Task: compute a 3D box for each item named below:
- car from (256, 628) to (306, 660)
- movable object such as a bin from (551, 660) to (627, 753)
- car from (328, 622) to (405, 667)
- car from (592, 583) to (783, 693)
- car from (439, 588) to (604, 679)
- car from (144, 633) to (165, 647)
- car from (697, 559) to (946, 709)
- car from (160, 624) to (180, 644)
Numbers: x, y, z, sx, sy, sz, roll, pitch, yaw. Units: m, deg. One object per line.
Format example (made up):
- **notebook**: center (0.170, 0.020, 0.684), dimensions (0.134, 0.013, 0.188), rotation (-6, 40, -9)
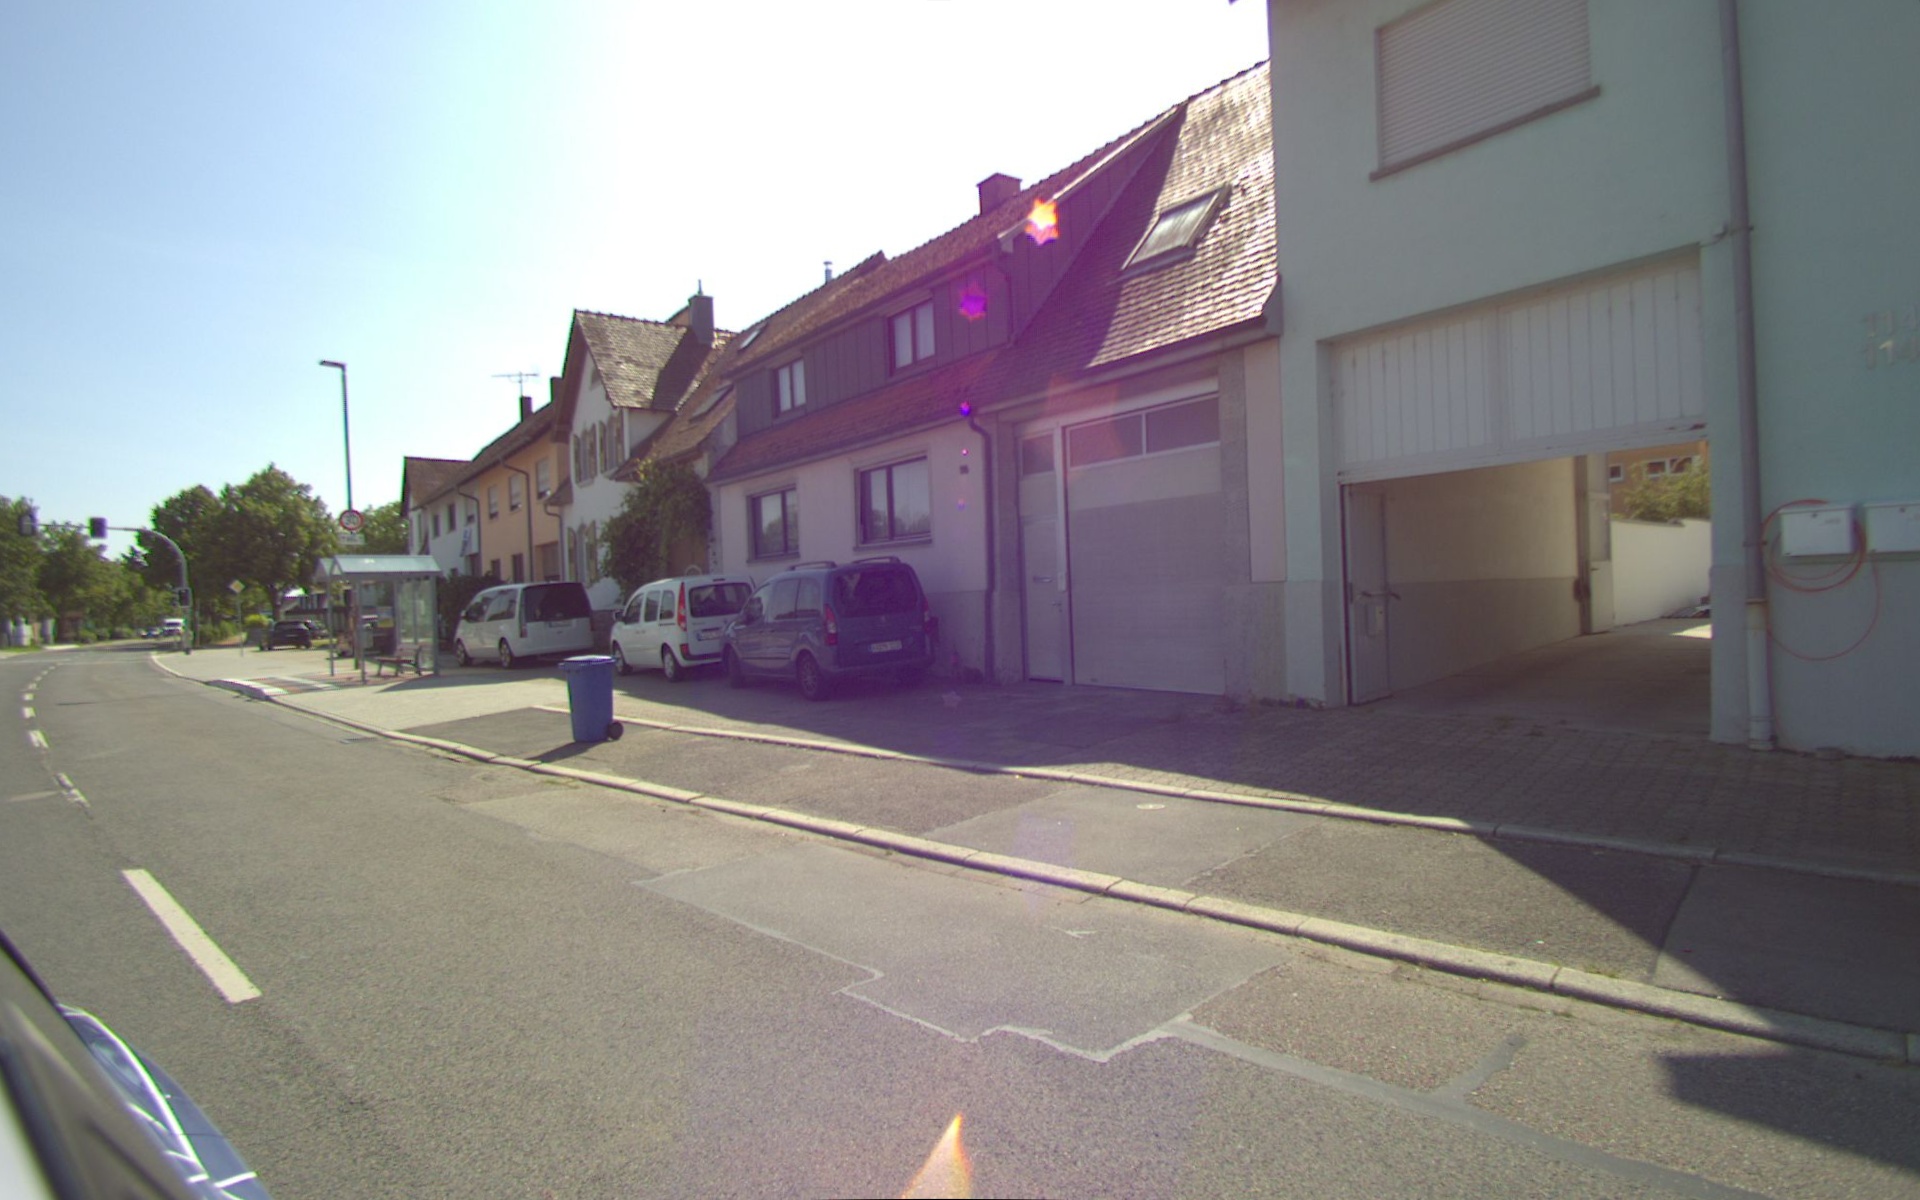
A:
- **car**: center (-33.888, 2.170, 50.489), dimensions (1.693, 1.418, 4.406), rotation (0, -1, -39)
- **movable object such as a bin**: center (-4.116, 1.170, 11.233), dimensions (0.514, 0.943, 0.552), rotation (-2, 1, 37)
- **car**: center (-21.768, 1.651, 37.054), dimensions (1.694, 1.464, 3.920), rotation (-3, -1, -41)
- **car**: center (-5.212, 0.651, 18.981), dimensions (1.942, 1.787, 4.286), rotation (-2, 0, -37)
- **car**: center (-11.098, 0.789, 25.368), dimensions (2.101, 2.001, 5.270), rotation (-2, 0, -43)
- **car**: center (-98.665, 4.872, 124.009), dimensions (1.817, 1.604, 4.115), rotation (-1, -1, -36)
- **car**: center (-2.220, 0.455, 15.054), dimensions (1.812, 1.806, 4.354), rotation (-5, 1, -34)
- **car**: center (-107.032, 4.590, 137.075), dimensions (1.908, 2.521, 5.851), rotation (-1, -1, -36)
